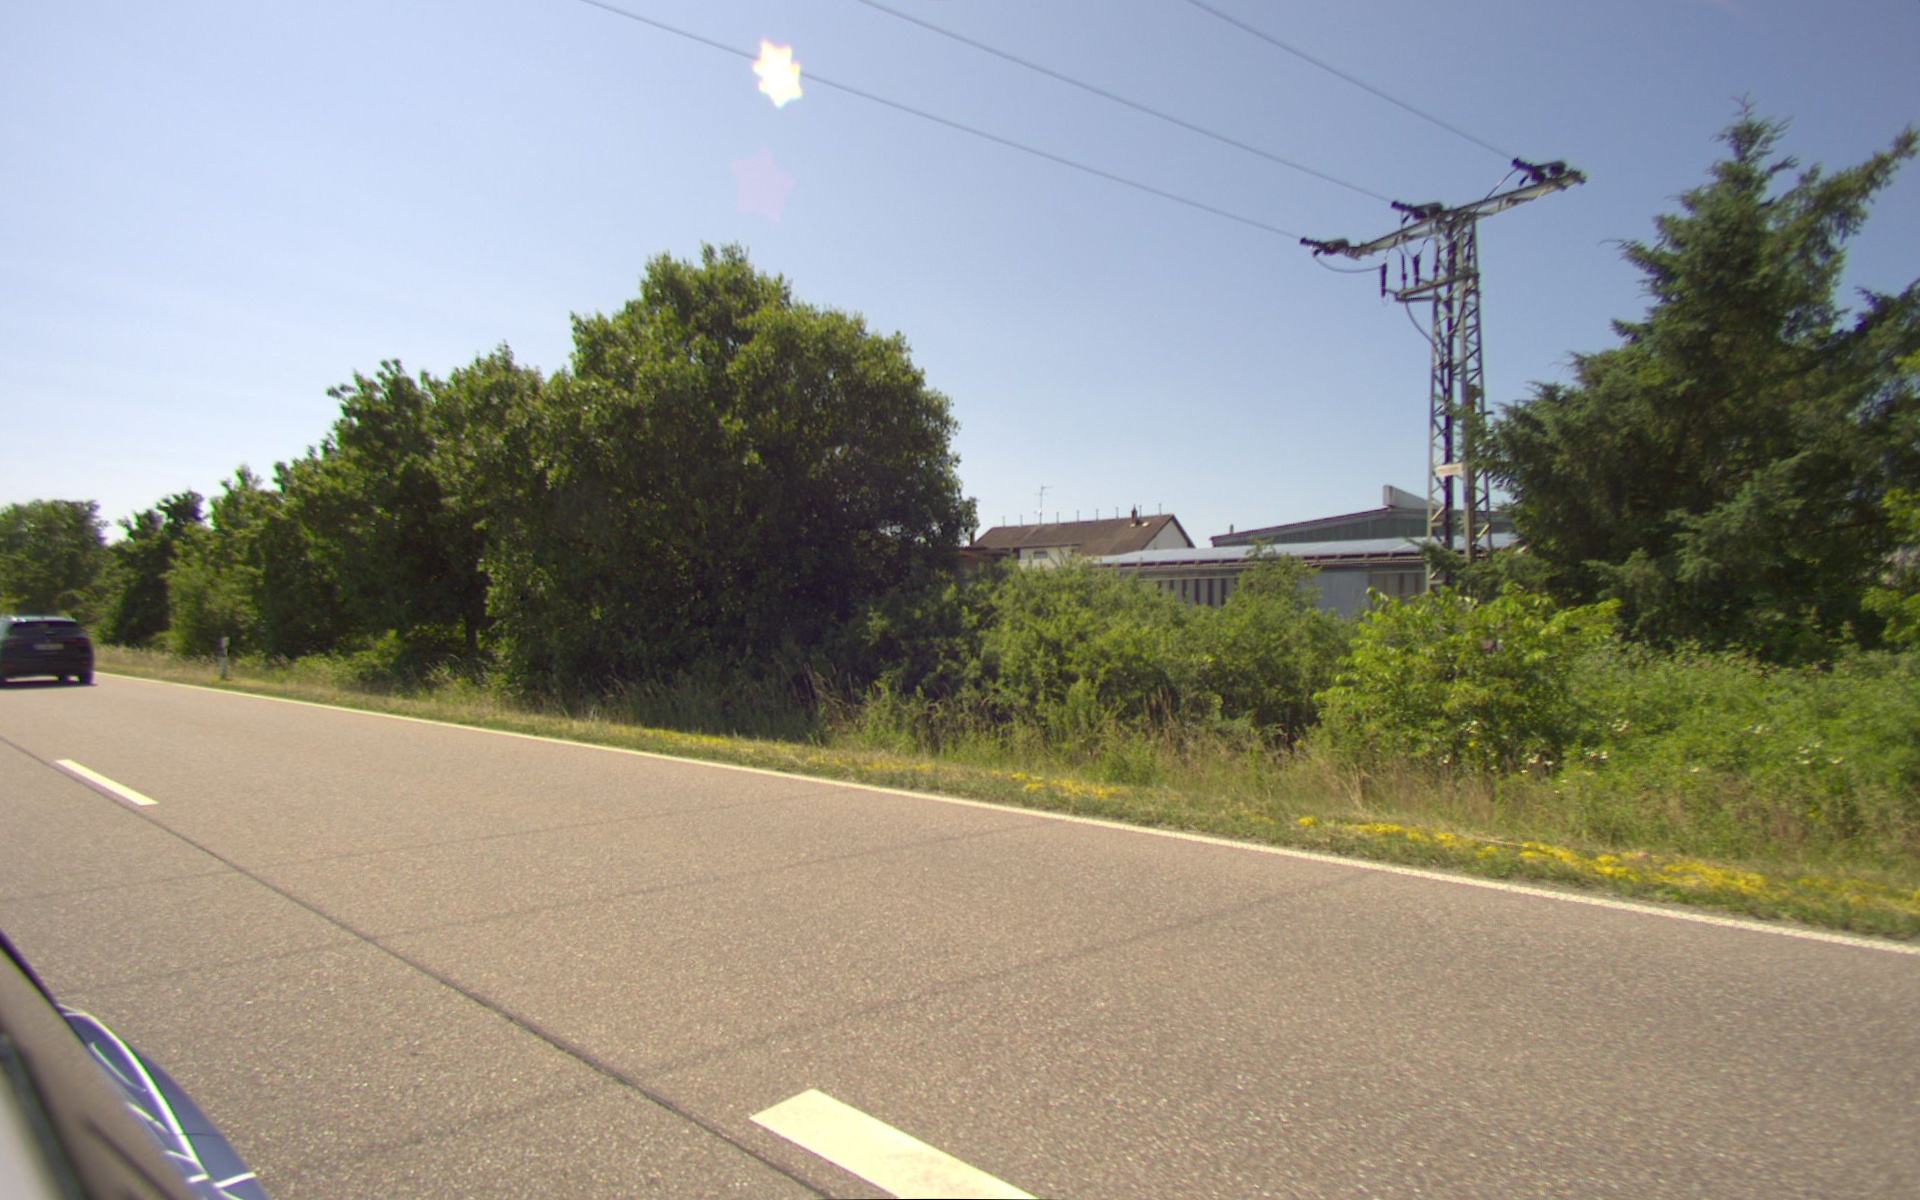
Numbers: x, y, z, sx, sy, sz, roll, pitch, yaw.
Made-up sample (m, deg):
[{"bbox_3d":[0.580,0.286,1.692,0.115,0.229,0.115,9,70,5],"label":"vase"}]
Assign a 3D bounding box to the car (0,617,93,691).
[{"bbox_3d":[-21.376,1.182,23.230,3.668,1.578,1.682,-1,-2,40],"label":"car"}]
